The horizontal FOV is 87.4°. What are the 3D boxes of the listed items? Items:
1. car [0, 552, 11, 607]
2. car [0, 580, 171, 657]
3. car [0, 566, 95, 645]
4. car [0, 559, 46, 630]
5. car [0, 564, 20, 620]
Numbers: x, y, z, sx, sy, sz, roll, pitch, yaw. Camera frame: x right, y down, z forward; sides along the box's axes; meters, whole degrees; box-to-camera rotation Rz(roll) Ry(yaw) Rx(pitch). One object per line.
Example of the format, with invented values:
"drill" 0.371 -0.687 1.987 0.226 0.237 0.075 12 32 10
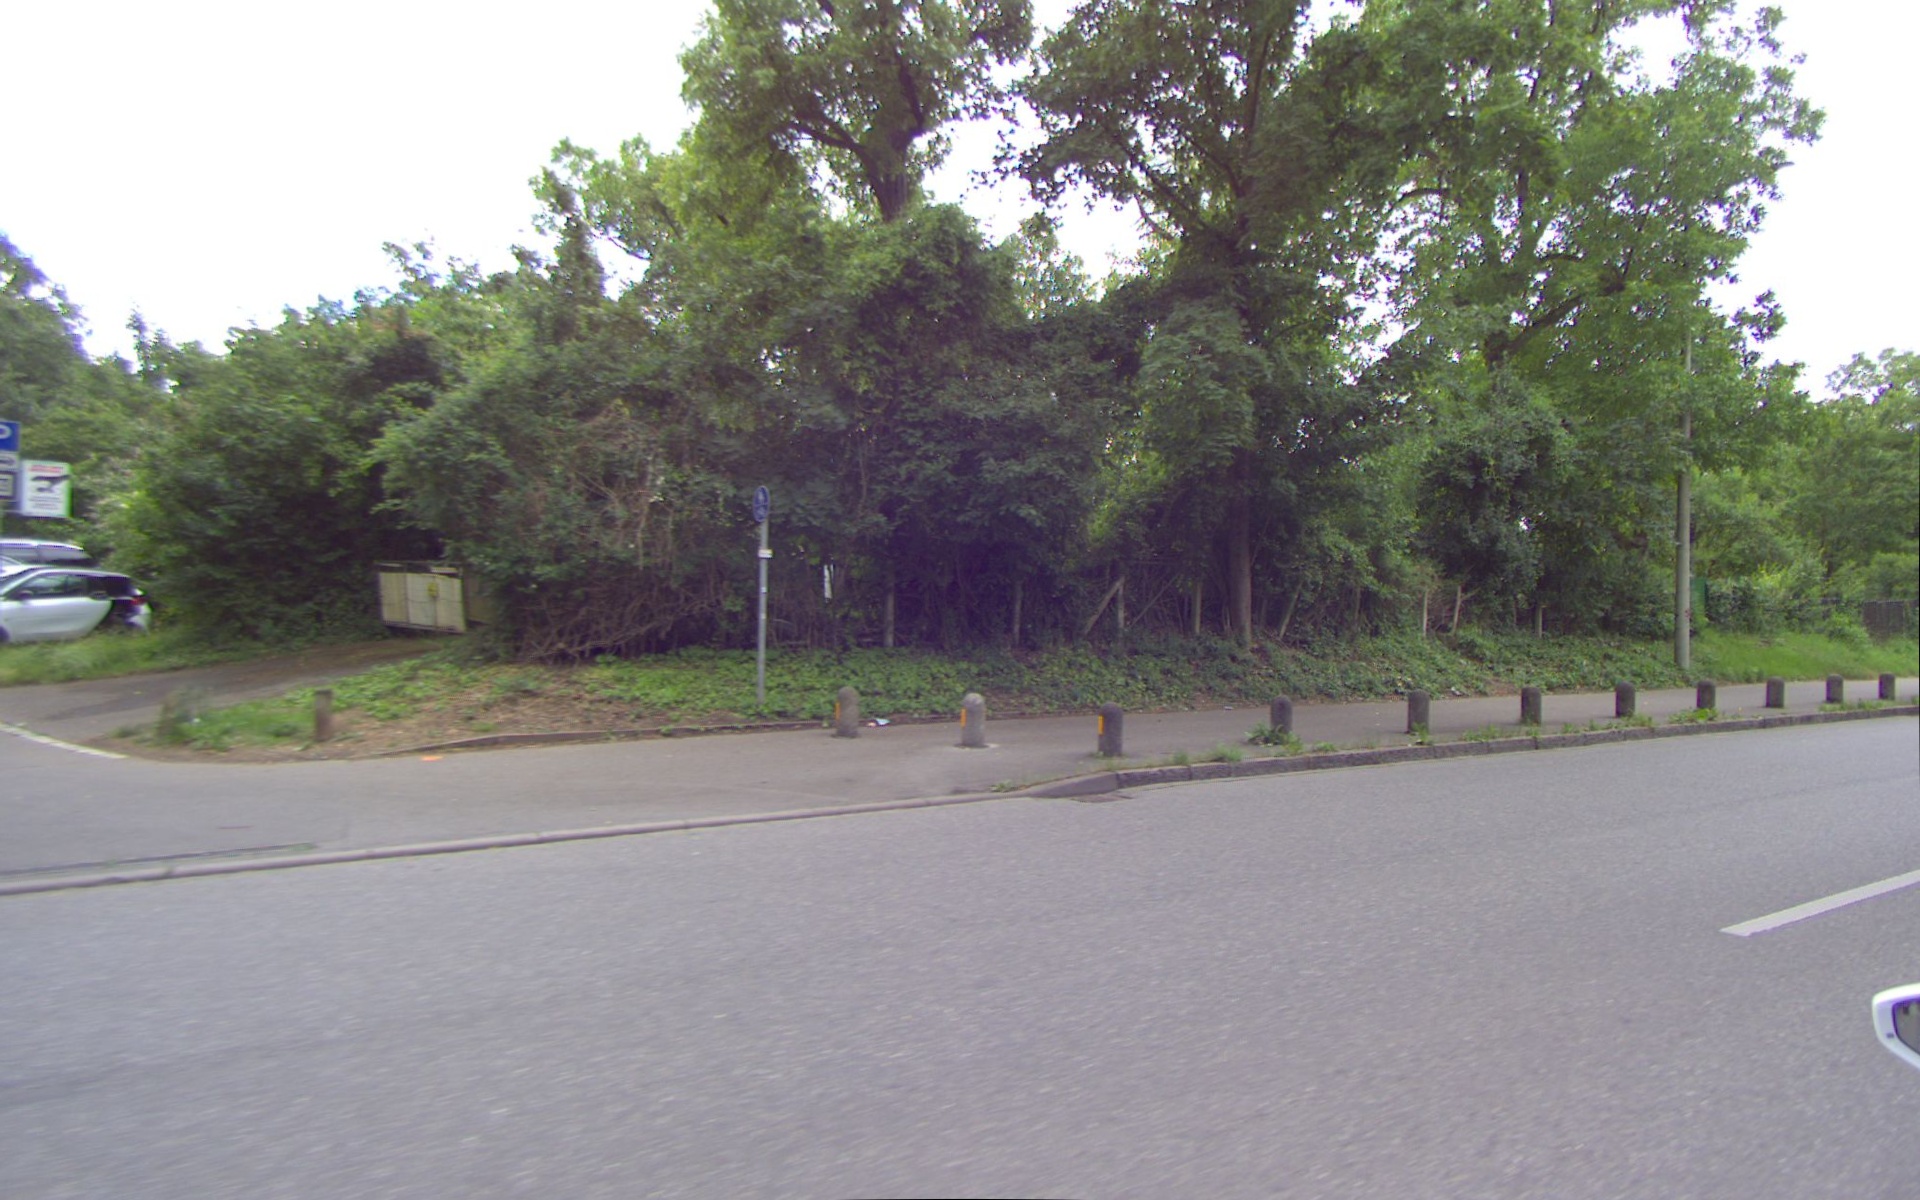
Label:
"car" -25.359 -0.557 24.514 1.247 1.379 3.058 3 1 38
"car" -16.156 0.315 17.912 1.354 1.255 3.058 3 1 38
"car" -18.200 0.079 18.636 1.354 1.420 3.058 3 1 38
"car" -20.624 -0.138 20.253 1.354 1.420 3.058 3 1 38
"car" -22.486 -0.205 21.678 1.247 1.228 3.058 3 1 38
